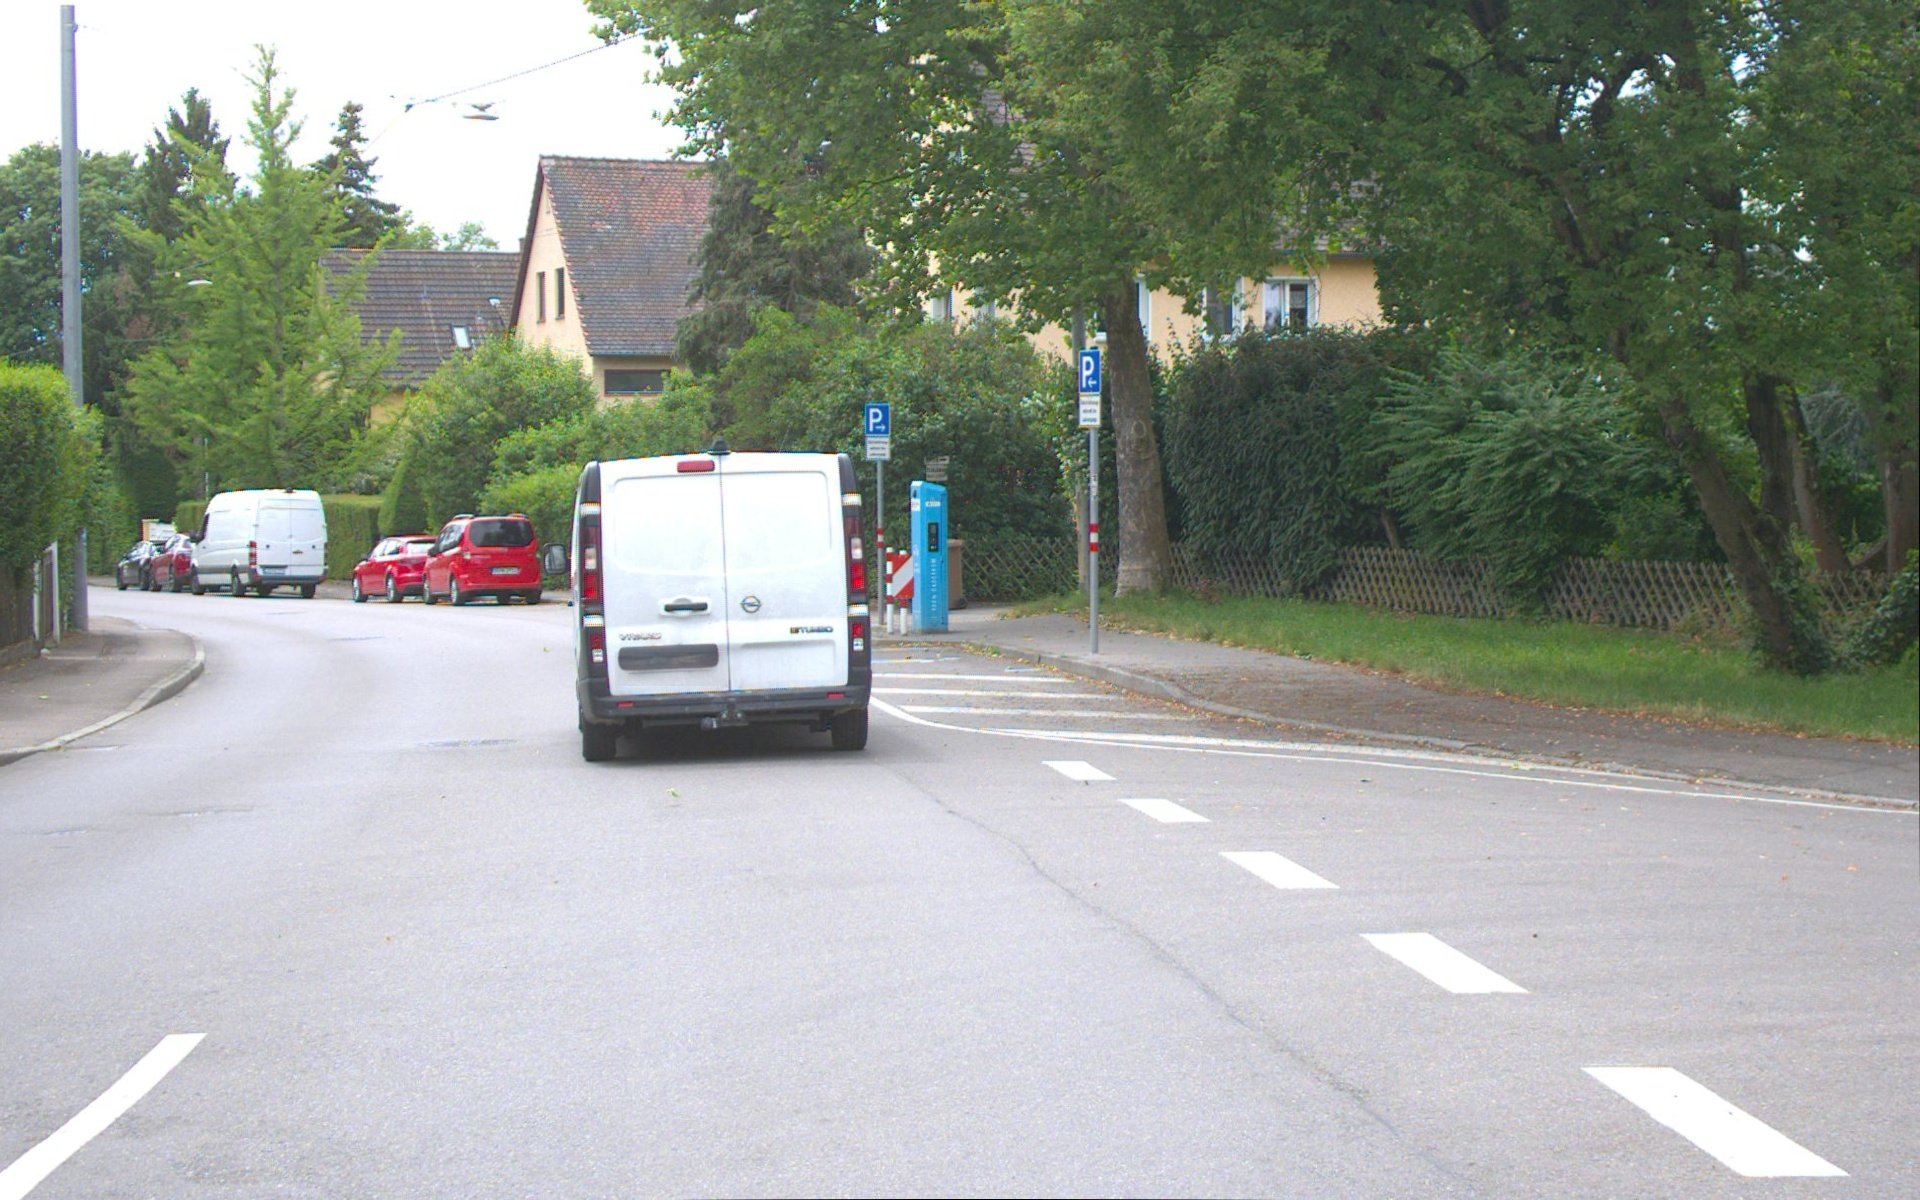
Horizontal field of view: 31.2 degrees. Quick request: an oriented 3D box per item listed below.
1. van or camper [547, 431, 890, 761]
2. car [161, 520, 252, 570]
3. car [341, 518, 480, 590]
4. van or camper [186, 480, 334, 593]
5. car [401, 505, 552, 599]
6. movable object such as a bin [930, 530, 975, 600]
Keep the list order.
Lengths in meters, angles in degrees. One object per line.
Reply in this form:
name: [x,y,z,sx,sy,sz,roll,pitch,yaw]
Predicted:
van or camper: [-1.768,-0.138,23.559,1.923,2.006,4.831,0,3,-9]
car: [-20.270,-1.490,92.394,1.530,1.300,4.032,-1,2,-25]
car: [-11.707,-0.993,73.046,1.712,1.462,4.269,-1,2,-26]
van or camper: [-17.503,-1.610,85.735,2.066,2.665,6.330,-2,2,-26]
car: [-9.646,-0.976,68.279,1.760,1.791,4.950,-1,2,-22]
movable object such as a bin: [-0.112,-0.541,52.488,0.603,1.066,0.568,0,1,-9]
